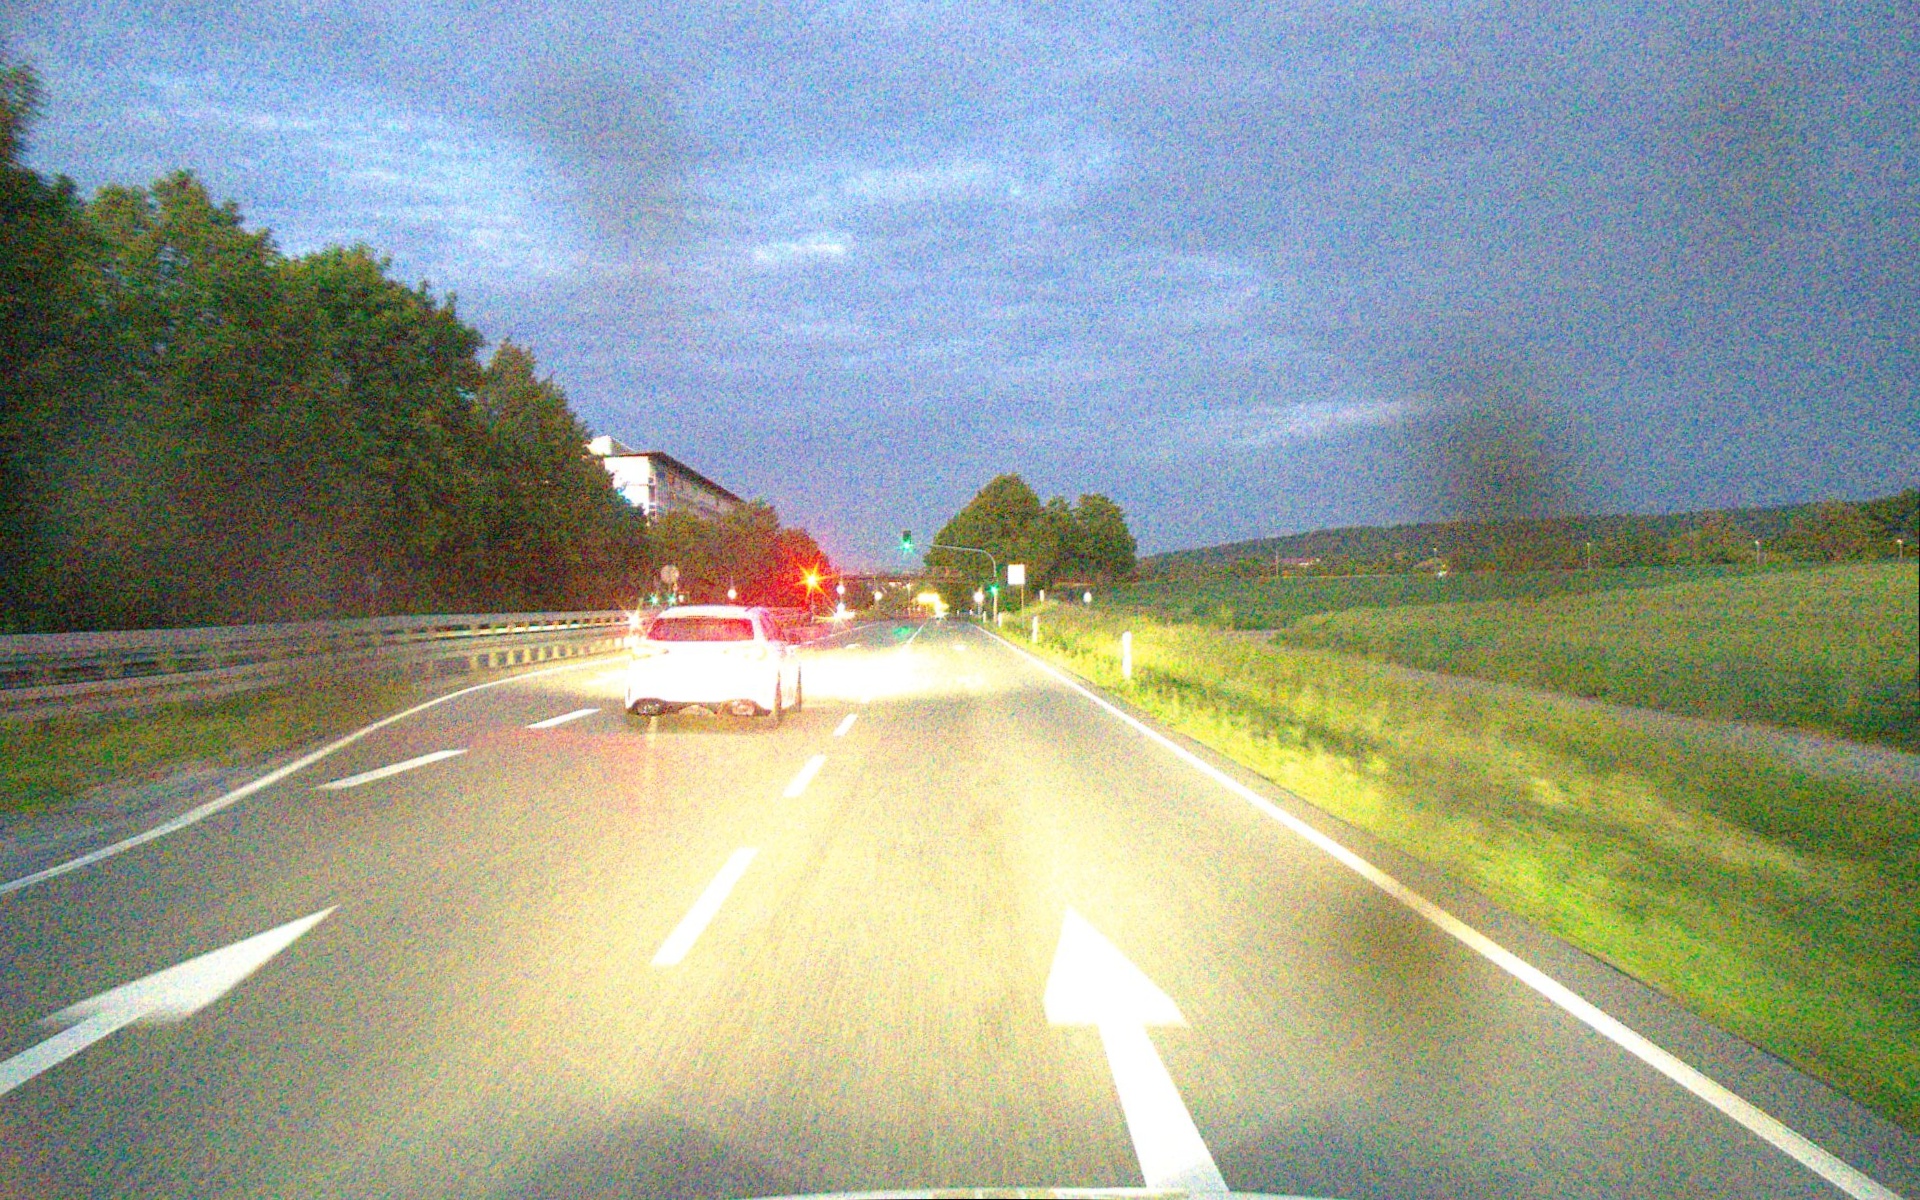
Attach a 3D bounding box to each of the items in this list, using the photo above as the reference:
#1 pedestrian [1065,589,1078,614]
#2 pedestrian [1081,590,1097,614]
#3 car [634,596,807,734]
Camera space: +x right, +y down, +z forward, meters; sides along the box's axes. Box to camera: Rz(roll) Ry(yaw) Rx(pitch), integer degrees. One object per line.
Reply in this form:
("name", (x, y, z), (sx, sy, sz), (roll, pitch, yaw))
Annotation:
("pedestrian", (8.256, 0.085, 122.338), (0.903, 1.824, 1.106), (0, 0, -1))
("pedestrian", (9.544, 0.123, 122.208), (1.068, 1.753, 1.260), (0, -1, -2))
("car", (-2.859, 0.715, 20.615), (1.609, 1.516, 4.578), (1, 0, -2))
